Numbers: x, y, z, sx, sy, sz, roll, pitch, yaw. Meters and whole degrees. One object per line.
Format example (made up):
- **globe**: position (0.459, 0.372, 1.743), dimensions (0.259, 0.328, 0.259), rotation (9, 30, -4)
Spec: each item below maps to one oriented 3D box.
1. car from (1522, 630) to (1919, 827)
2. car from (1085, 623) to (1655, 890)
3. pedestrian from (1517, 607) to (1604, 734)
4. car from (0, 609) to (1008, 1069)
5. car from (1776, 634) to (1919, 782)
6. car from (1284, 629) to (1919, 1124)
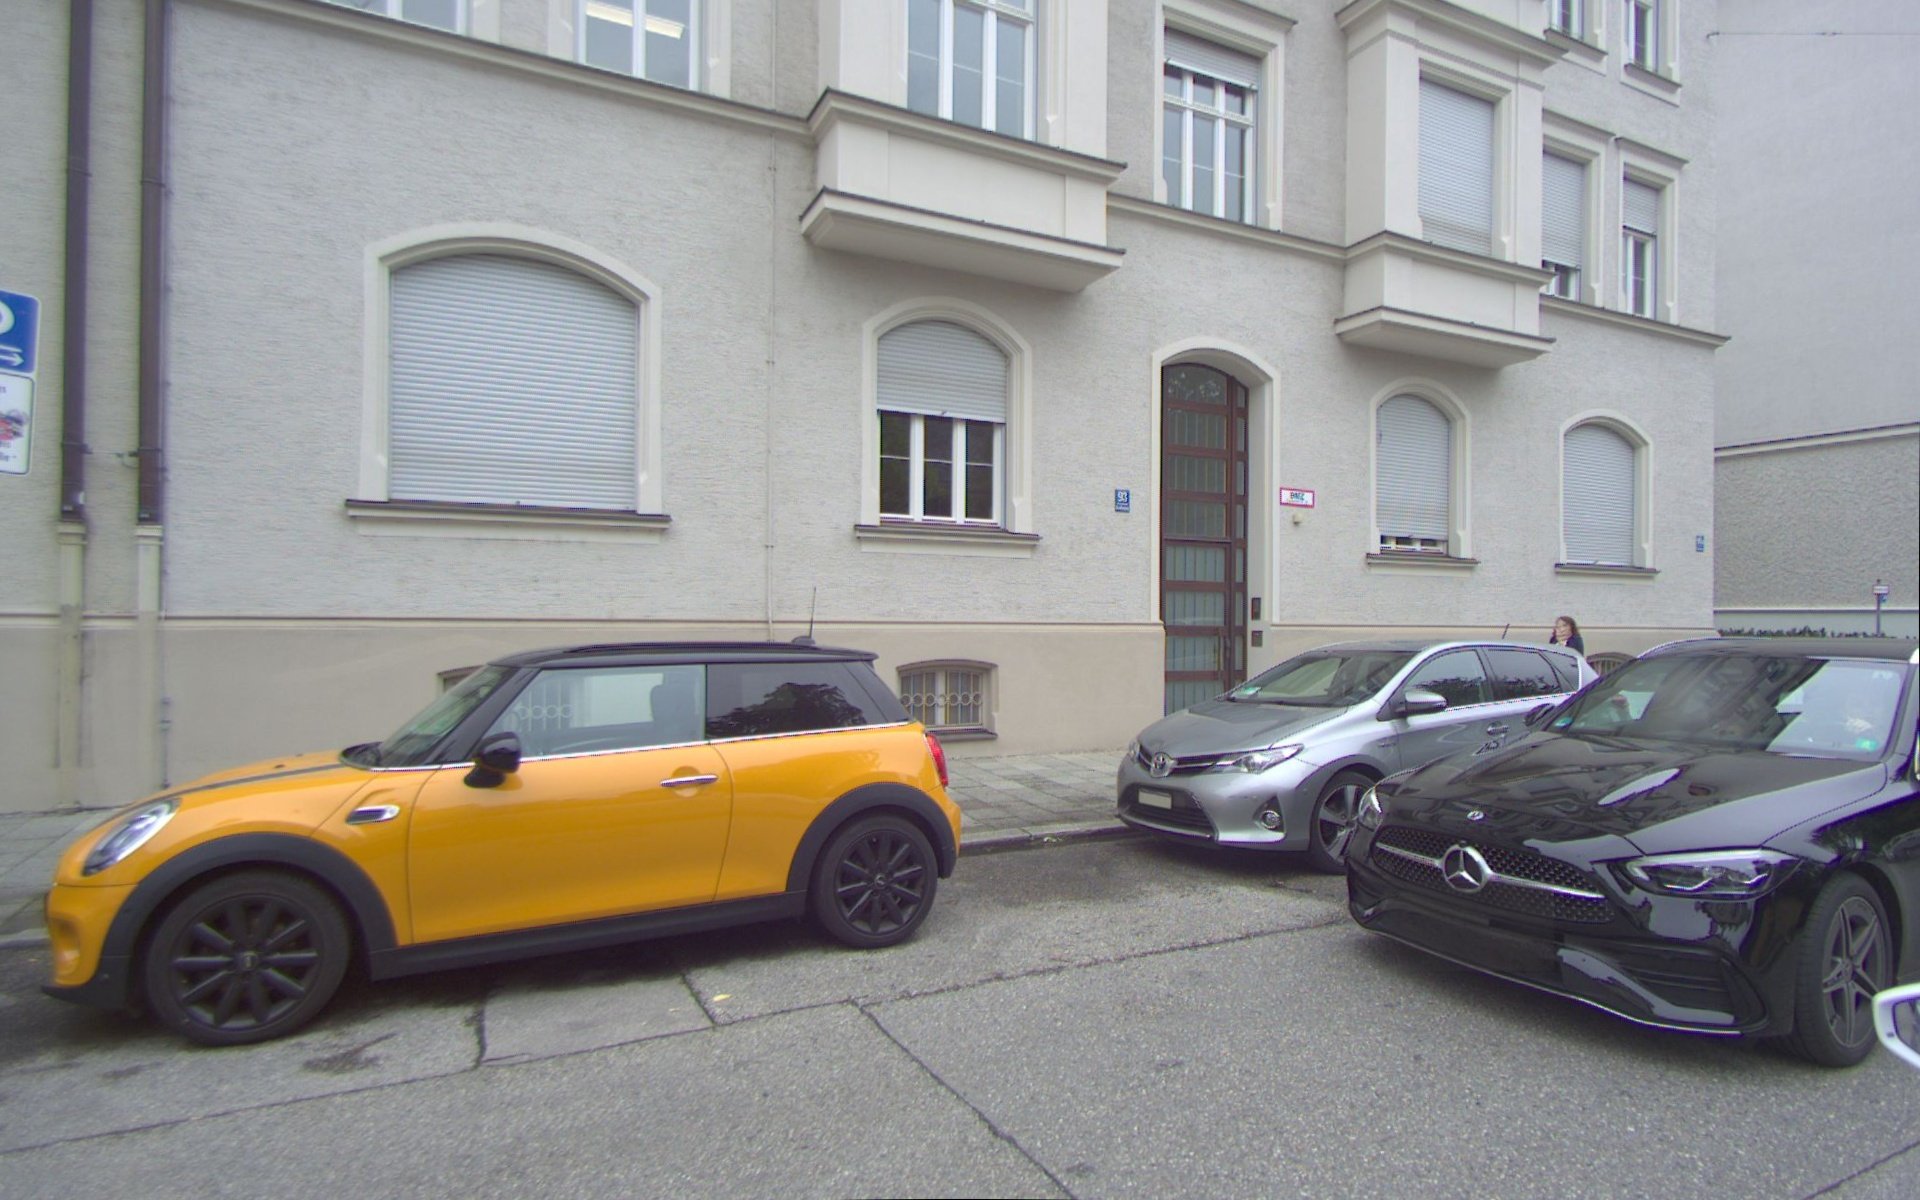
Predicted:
- **car**: position (7.454, 1.040, 9.260), dimensions (4.217, 1.456, 1.831), rotation (1, -4, -25)
- **car**: position (3.014, 0.970, 7.362), dimensions (3.877, 1.519, 1.721), rotation (2, -2, -25)
- **pedestrian**: position (8.302, 0.950, 13.902), dimensions (0.691, 1.701, 0.789), rotation (1, -1, -27)
- **car**: position (-1.882, 0.855, 4.853), dimensions (3.917, 1.519, 1.636), rotation (1, -3, -25)
- **car**: position (11.614, 1.160, 11.586), dimensions (4.219, 1.519, 1.830), rotation (1, -4, -27)
- **car**: position (3.850, 0.865, 4.797), dimensions (4.352, 1.447, 1.868), rotation (1, -2, -27)
